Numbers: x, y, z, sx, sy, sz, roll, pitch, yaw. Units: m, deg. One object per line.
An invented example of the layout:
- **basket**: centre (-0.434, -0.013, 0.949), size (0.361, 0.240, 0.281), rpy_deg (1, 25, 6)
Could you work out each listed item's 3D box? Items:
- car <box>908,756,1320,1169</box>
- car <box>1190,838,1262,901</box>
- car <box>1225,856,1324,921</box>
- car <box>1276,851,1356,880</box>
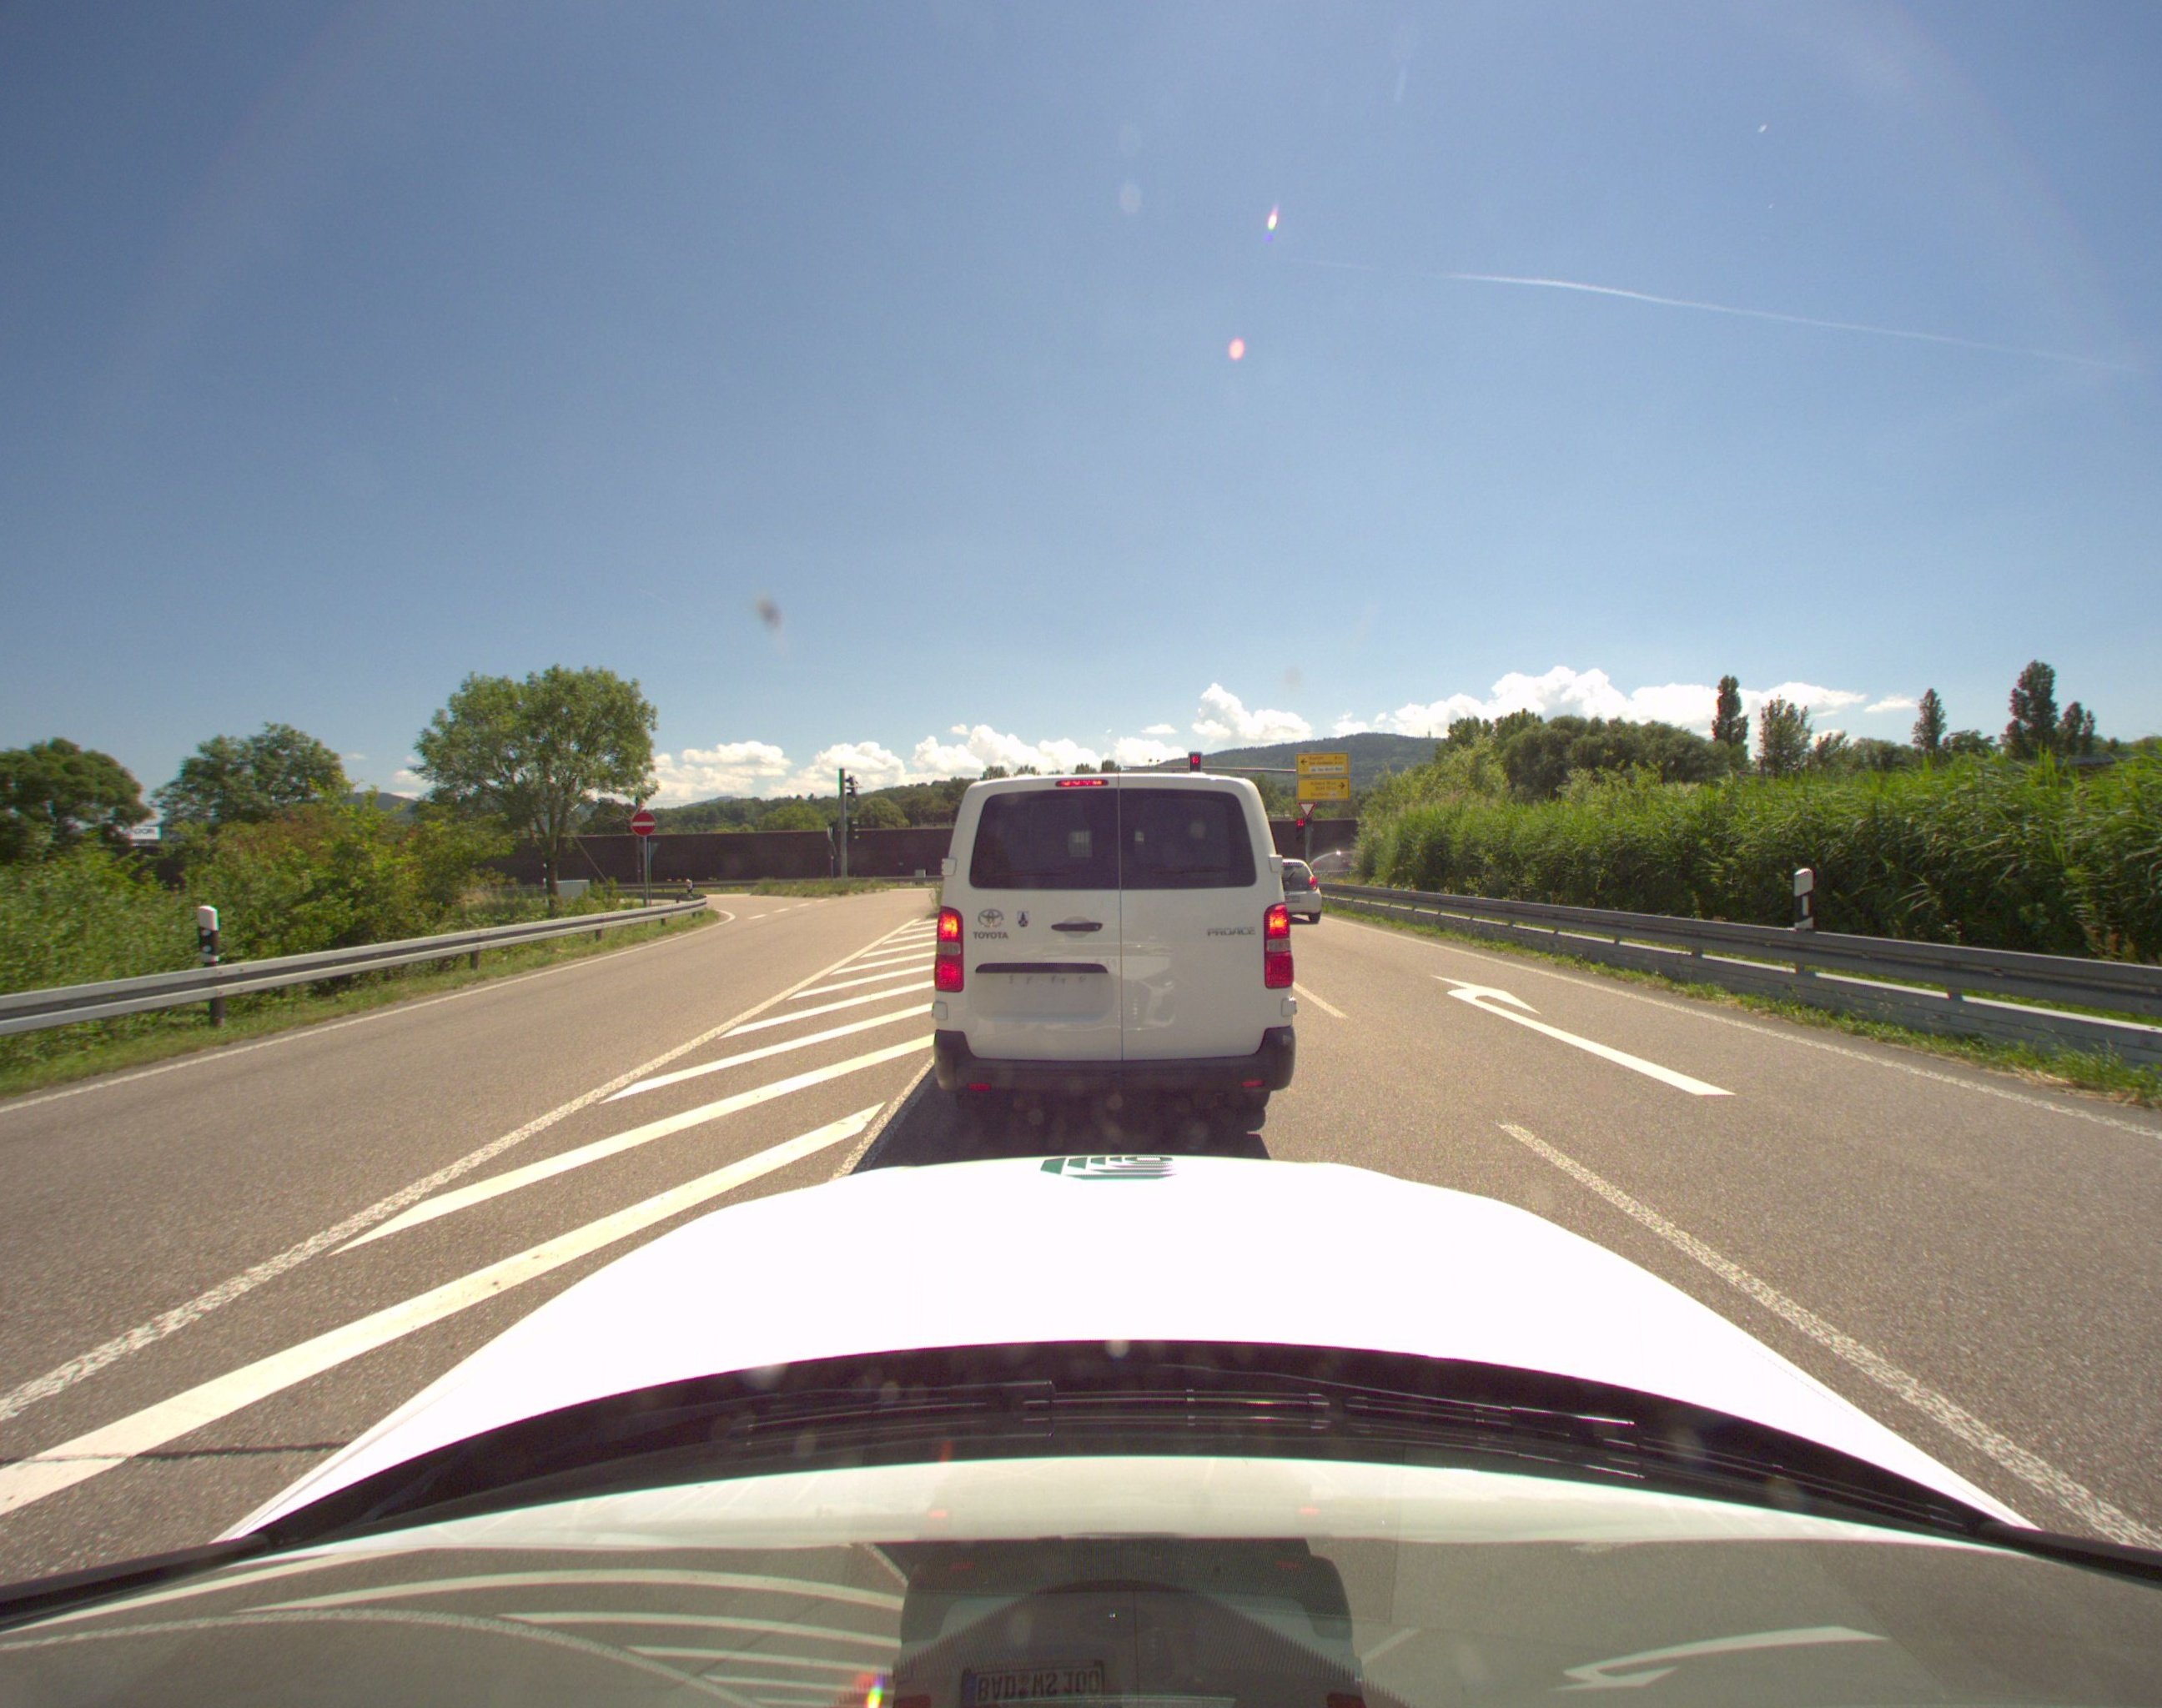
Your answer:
- **car**: centre (0.197, 0.513, 5.755), size (1.880, 1.886, 4.001), rpy_deg (-1, 0, 1)
- **car**: centre (4.921, 0.511, 28.248), size (1.920, 2.000, 4.842), rpy_deg (-1, 0, 3)
- **car**: centre (4.557, 0.774, 19.635), size (1.650, 1.431, 3.366), rpy_deg (-1, 0, 1)
- **car**: centre (14.264, 0.707, 49.657), size (4.298, 1.656, 1.999), rpy_deg (-1, 0, -2)
